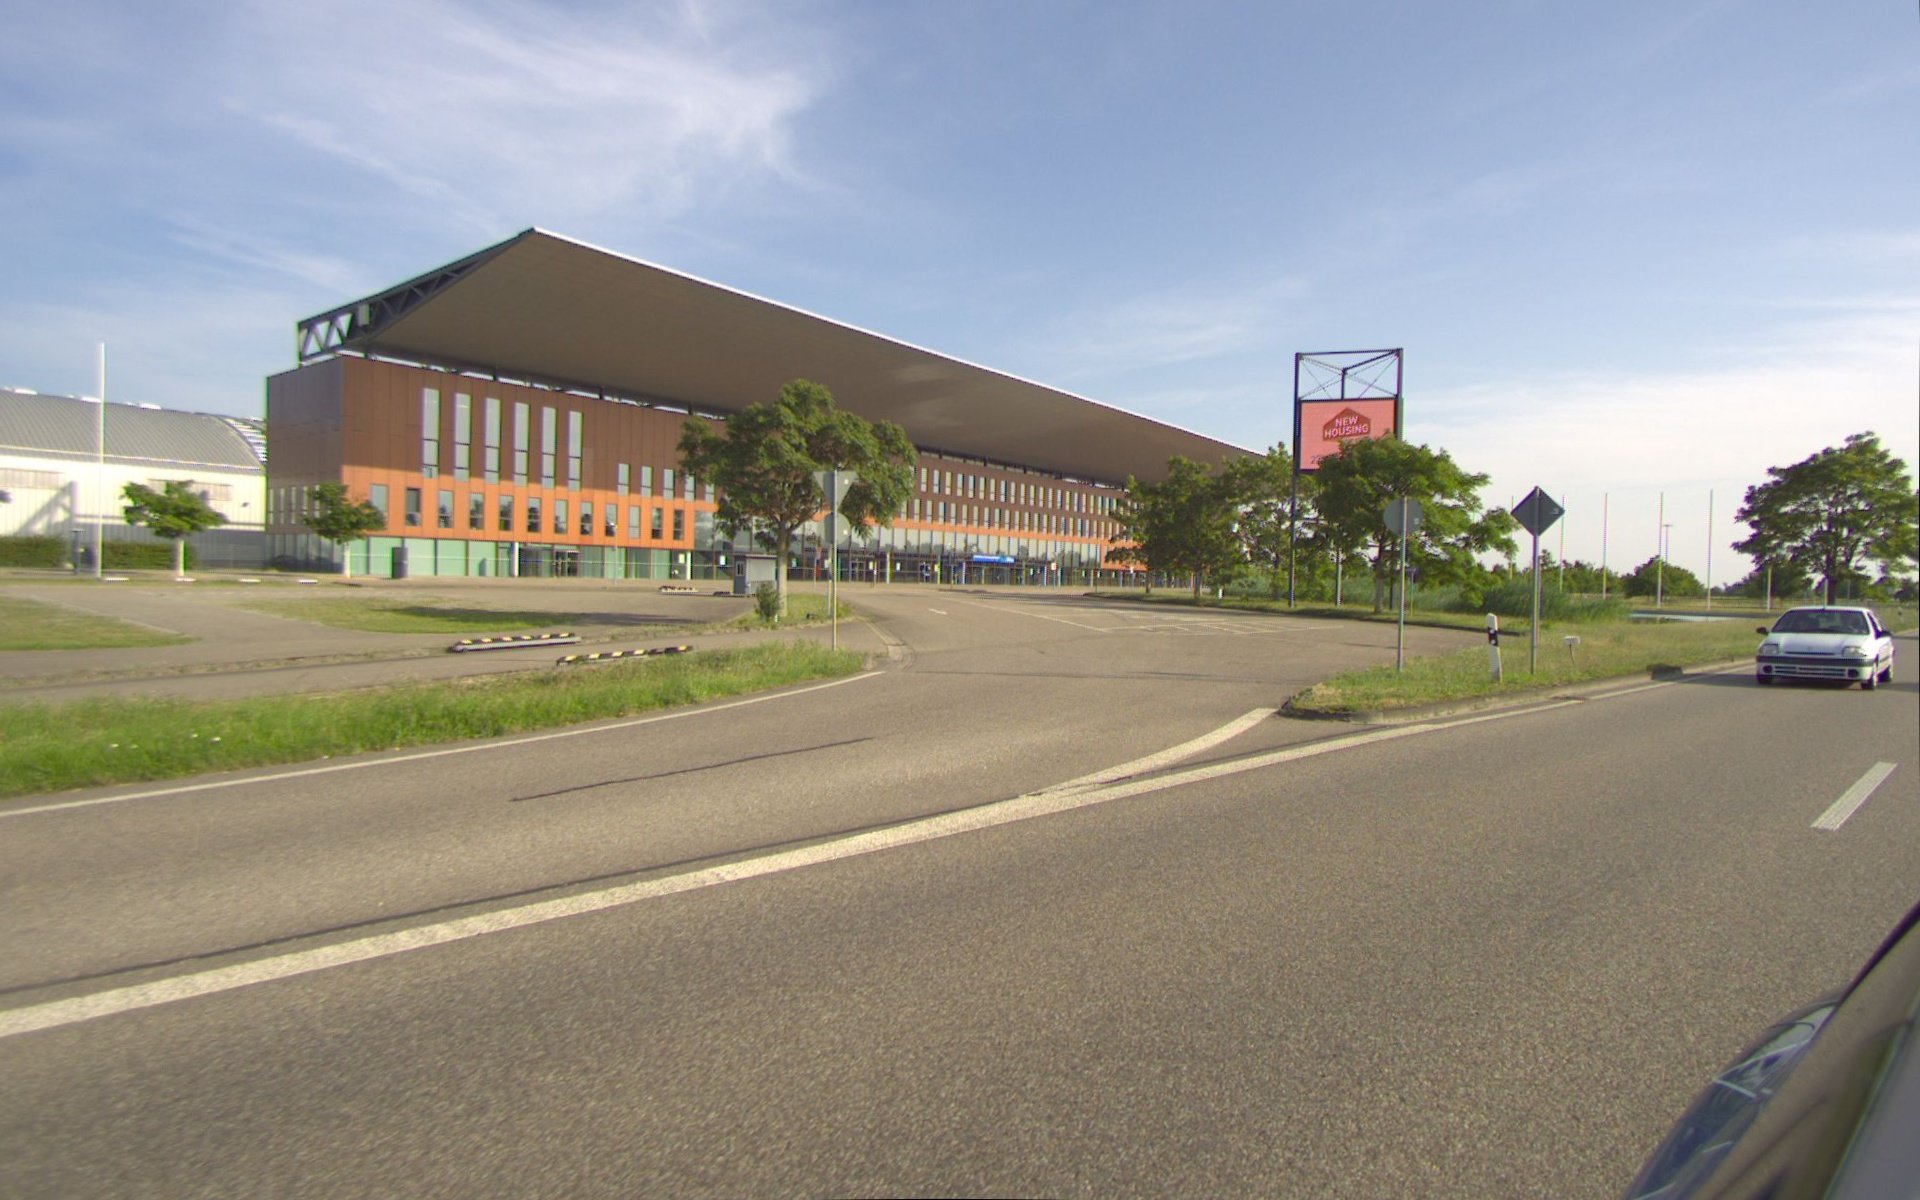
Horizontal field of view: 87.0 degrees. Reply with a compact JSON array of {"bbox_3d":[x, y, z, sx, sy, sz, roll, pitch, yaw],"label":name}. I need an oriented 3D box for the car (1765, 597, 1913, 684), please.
[{"bbox_3d":[15.840,0.659,18.194,3.392,1.396,1.577,0,1,-42],"label":"car"}]
